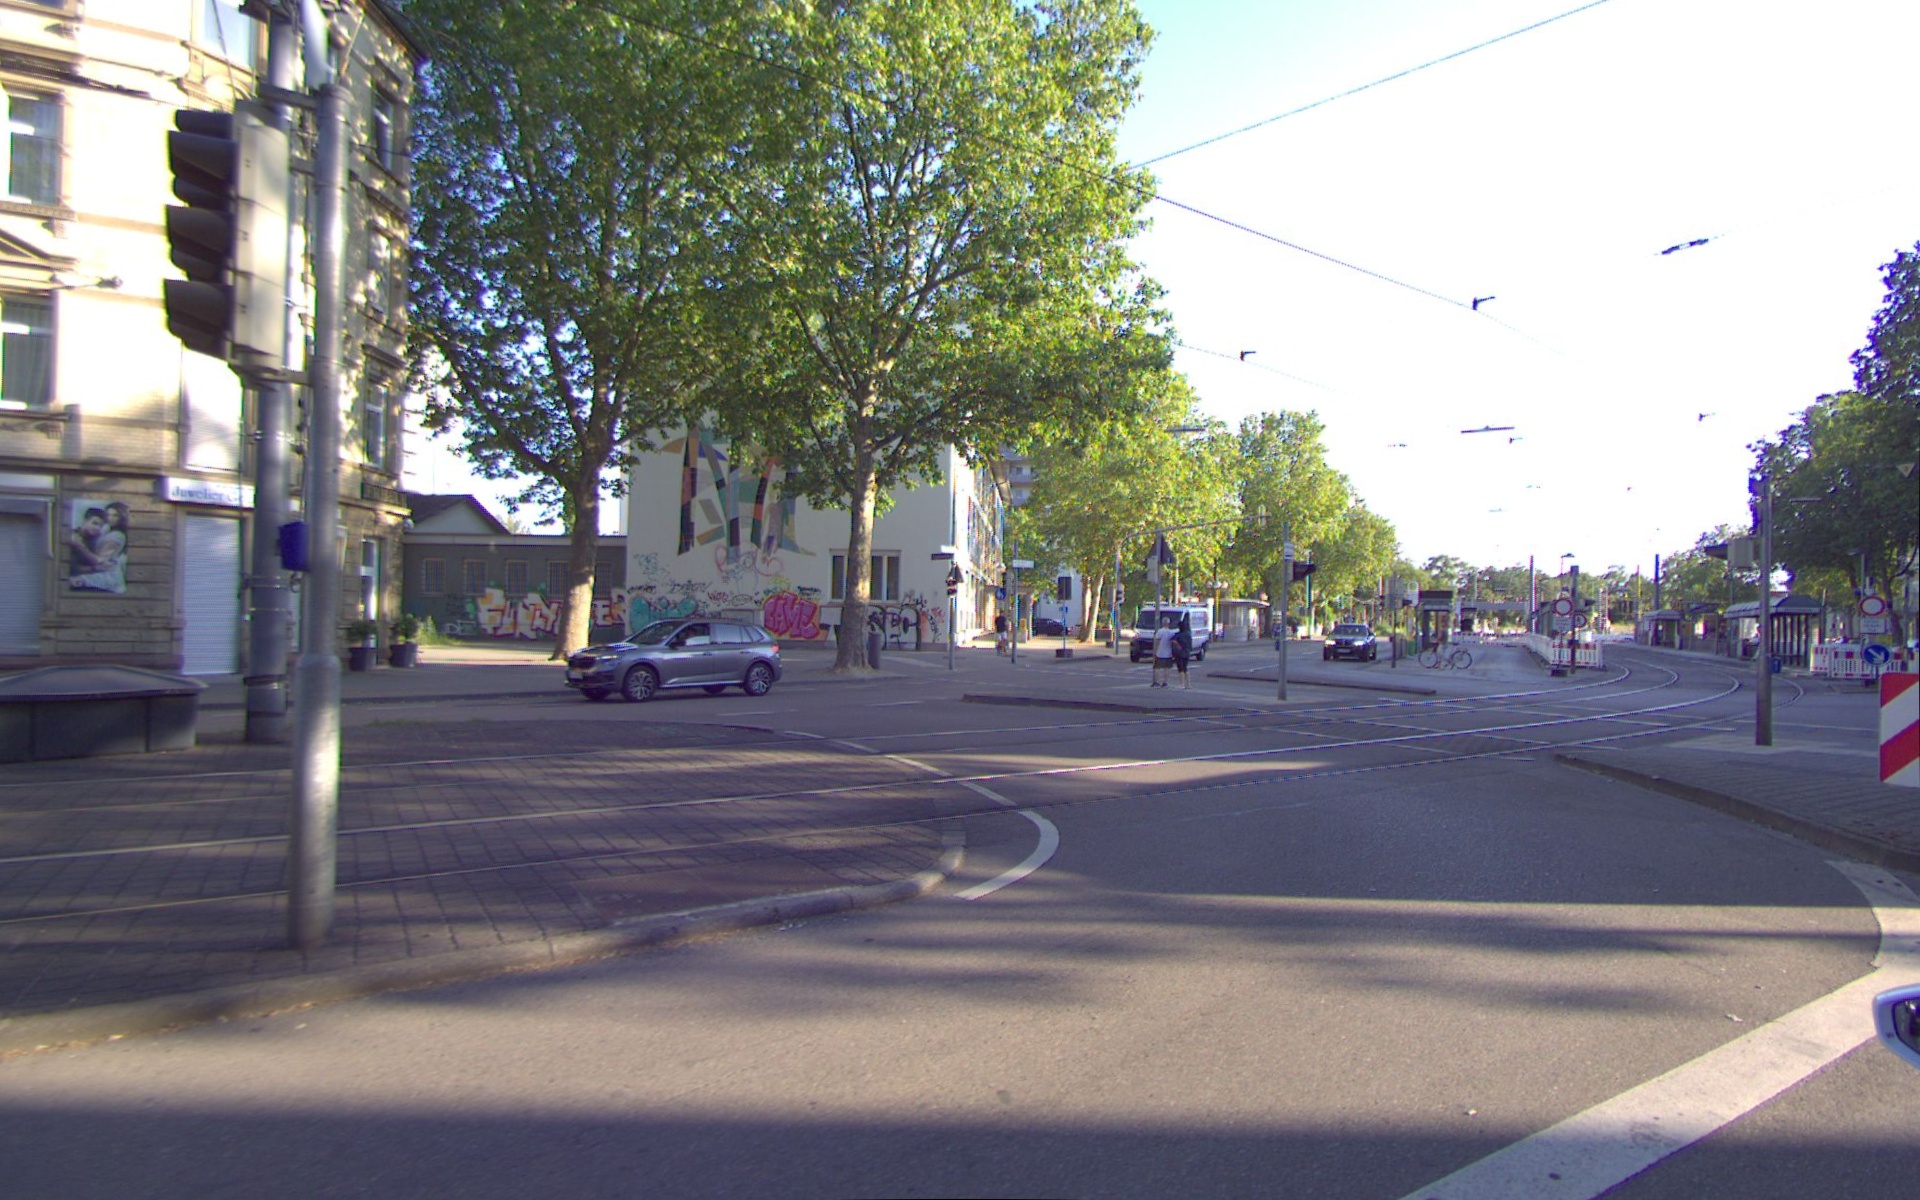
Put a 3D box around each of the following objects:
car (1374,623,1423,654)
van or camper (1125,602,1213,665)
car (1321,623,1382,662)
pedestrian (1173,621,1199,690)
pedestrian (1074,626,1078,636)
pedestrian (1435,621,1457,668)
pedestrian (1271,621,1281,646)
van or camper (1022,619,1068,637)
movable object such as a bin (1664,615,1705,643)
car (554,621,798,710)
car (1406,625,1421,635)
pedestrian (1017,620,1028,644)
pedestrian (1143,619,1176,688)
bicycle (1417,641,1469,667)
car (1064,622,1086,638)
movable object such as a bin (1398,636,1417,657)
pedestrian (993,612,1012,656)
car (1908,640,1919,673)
[{"bbox_3d":[23.227,2.015,53.094,1.859,1.551,4.198,1,-1,31],"label":"car"},{"bbox_3d":[8.523,1.361,40.583,2.135,2.349,5.097,-1,-2,28],"label":"van or camper"},{"bbox_3d":[17.375,1.861,44.450,1.859,1.606,4.198,1,-1,31],"label":"car"},{"bbox_3d":[5.125,1.246,22.772,0.403,1.524,0.515,1,-1,35],"label":"pedestrian"},{"bbox_3d":[12.713,3.429,110.341,0.385,1.086,0.389,1,-1,10],"label":"pedestrian"},{"bbox_3d":[18.610,1.692,38.468,0.709,1.748,0.399,1,-1,29],"label":"pedestrian"},{"bbox_3d":[25.480,2.702,80.906,0.696,2.040,0.743,1,-1,22],"label":"pedestrian"},{"bbox_3d":[7.921,2.599,93.512,3.928,1.572,1.826,1,-1,-10],"label":"van or camper"},{"bbox_3d":[68.480,2.738,95.011,2.456,2.509,5.347,1,-1,28],"label":"movable object such as a bin"},{"bbox_3d":[-5.356,1.185,19.333,1.864,1.492,4.186,1,-1,41],"label":"car"},{"bbox_3d":[68.930,4.536,152.589,1.857,1.551,4.202,1,-1,27],"label":"car"},{"bbox_3d":[3.862,1.989,61.921,0.663,1.414,0.693,2,1,4],"label":"pedestrian"},{"bbox_3d":[4.512,1.196,22.670,0.513,1.524,0.592,1,-1,35],"label":"pedestrian"},{"bbox_3d":[18.717,2.090,38.924,1.813,0.955,0.463,1,-1,29],"label":"bicycle"},{"bbox_3d":[12.769,3.314,111.585,1.959,1.586,4.002,2,1,12],"label":"car"},{"bbox_3d":[20.281,2.118,45.526,0.661,0.878,0.701,2,1,32],"label":"movable object such as a bin"},{"bbox_3d":[1.760,1.383,41.126,0.663,1.733,0.432,2,1,11],"label":"pedestrian"},{"bbox_3d":[44.312,2.587,45.171,1.731,1.483,3.990,1,-1,33],"label":"car"}]
